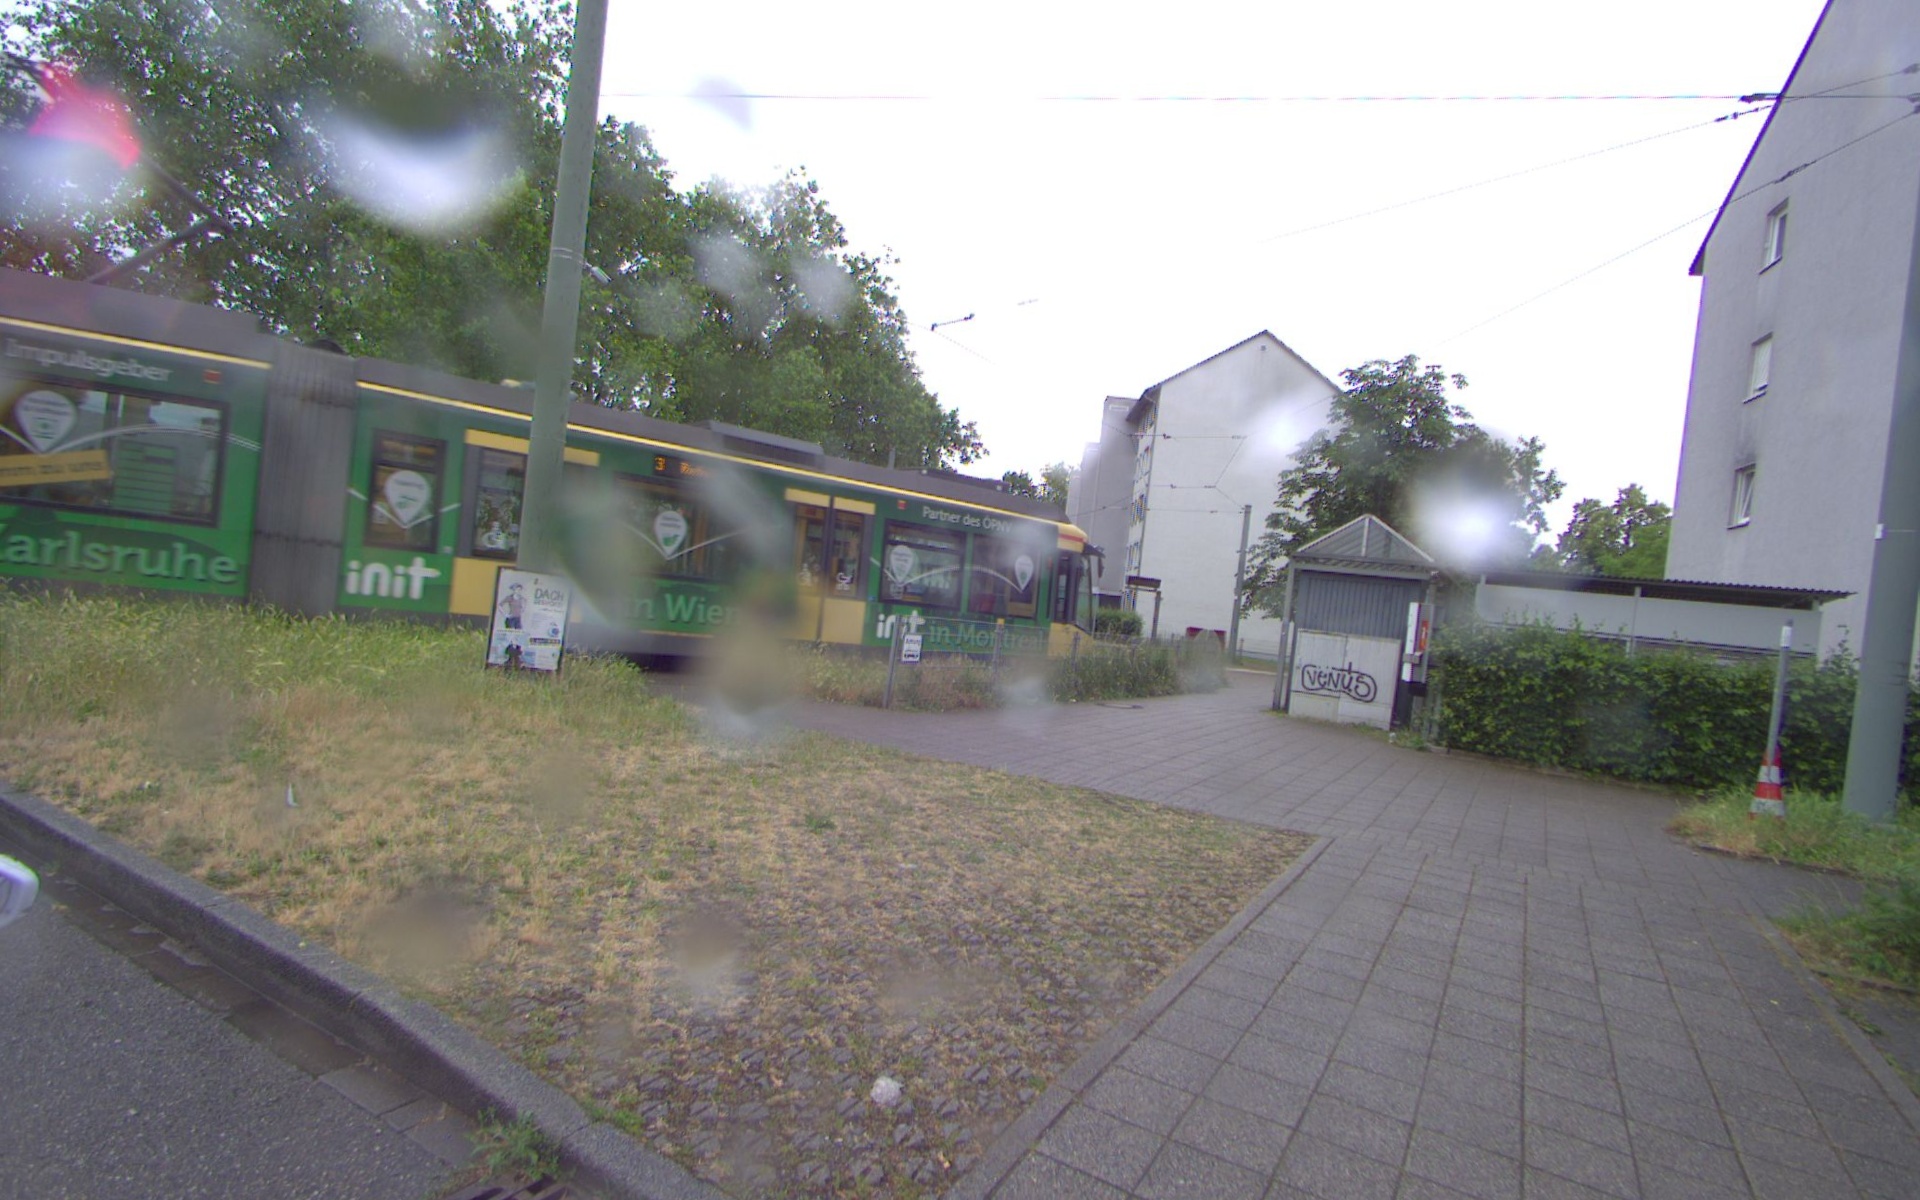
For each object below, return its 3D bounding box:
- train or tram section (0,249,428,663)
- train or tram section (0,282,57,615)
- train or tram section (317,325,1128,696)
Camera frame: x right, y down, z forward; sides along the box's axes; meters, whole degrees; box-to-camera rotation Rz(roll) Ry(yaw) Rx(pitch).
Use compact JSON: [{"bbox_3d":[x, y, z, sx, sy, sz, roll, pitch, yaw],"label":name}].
[{"bbox_3d":[-8.871,-1.433,11.027,4.925,3.597,2.753,6,1,-25],"label":"train or tram section"},{"bbox_3d":[-16.678,-2.345,9.159,12.909,3.597,2.764,7,1,-10],"label":"train or tram section"},{"bbox_3d":[-2.605,-0.680,15.694,12.106,3.597,2.739,7,0,-39],"label":"train or tram section"}]
